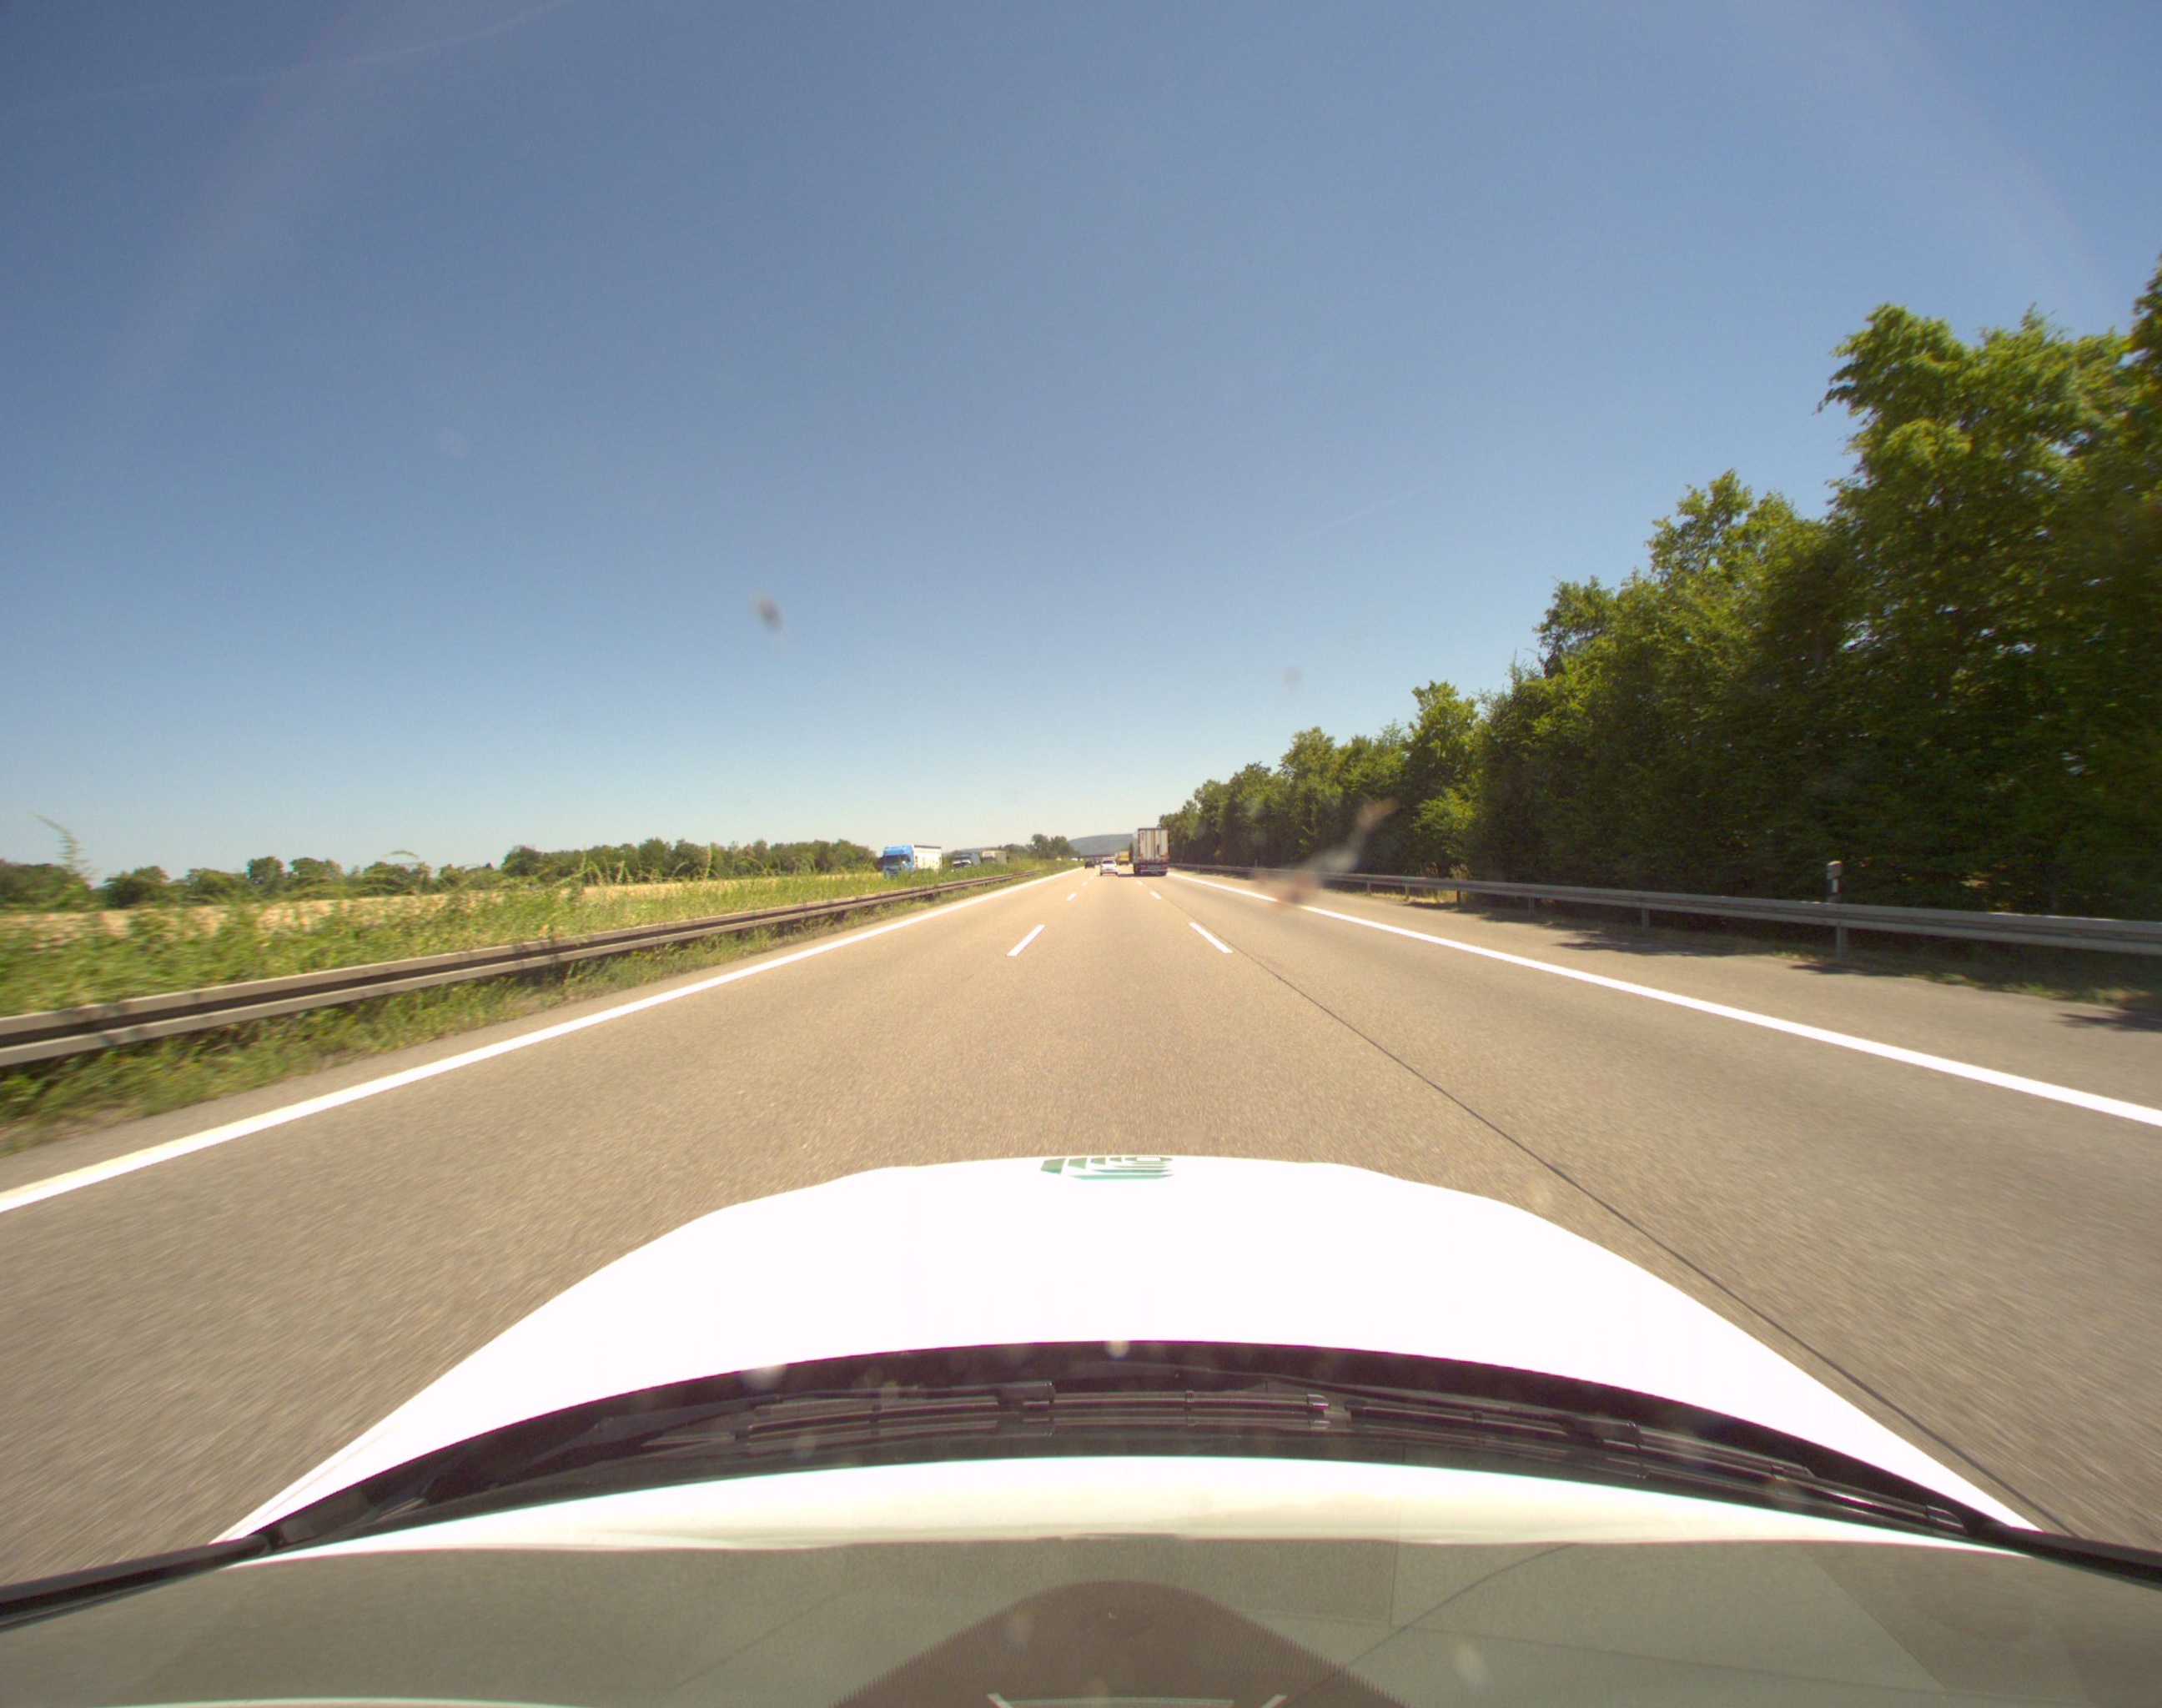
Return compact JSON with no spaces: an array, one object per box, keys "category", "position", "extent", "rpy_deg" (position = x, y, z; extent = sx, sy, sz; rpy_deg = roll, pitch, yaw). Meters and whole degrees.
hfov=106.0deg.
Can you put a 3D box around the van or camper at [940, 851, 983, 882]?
[{"category":"van or camper","position":[-12.920,1.354,89.238],"extent":[2.601,3.101,11.515],"rpy_deg":[-2,0,2]}]

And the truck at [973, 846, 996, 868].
[{"category":"truck","position":[-16.688,0.598,141.117],"extent":[3.338,3.699,6.064],"rpy_deg":[0,0,0]}]

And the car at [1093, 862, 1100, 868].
[{"category":"car","position":[4.548,3.232,236.626],"extent":[1.788,1.551,4.002],"rpy_deg":[-1,-1,2]}]

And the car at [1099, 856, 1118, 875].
[{"category":"car","position":[2.604,1.042,77.639],"extent":[1.726,1.684,4.001],"rpy_deg":[-2,0,1]}]

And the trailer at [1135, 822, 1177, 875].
[{"category":"trailer","position":[6.721,-0.445,74.533],"extent":[3.205,4.345,13.638],"rpy_deg":[0,0,3]}]

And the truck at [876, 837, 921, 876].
[{"category":"truck","position":[-17.934,0.280,80.485],"extent":[3.098,3.699,5.200],"rpy_deg":[0,0,2]}]

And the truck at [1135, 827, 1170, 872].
[{"category":"truck","position":[7.066,-0.410,81.699],"extent":[3.205,4.345,6.594],"rpy_deg":[0,0,3]}]

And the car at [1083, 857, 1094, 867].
[{"category":"car","position":[1.360,1.379,145.898],"extent":[1.986,1.712,4.001],"rpy_deg":[0,0,1]}]

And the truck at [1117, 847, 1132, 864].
[{"category":"truck","position":[11.623,0.470,218.952],"extent":[3.857,4.345,13.866],"rpy_deg":[0,0,2]}]
